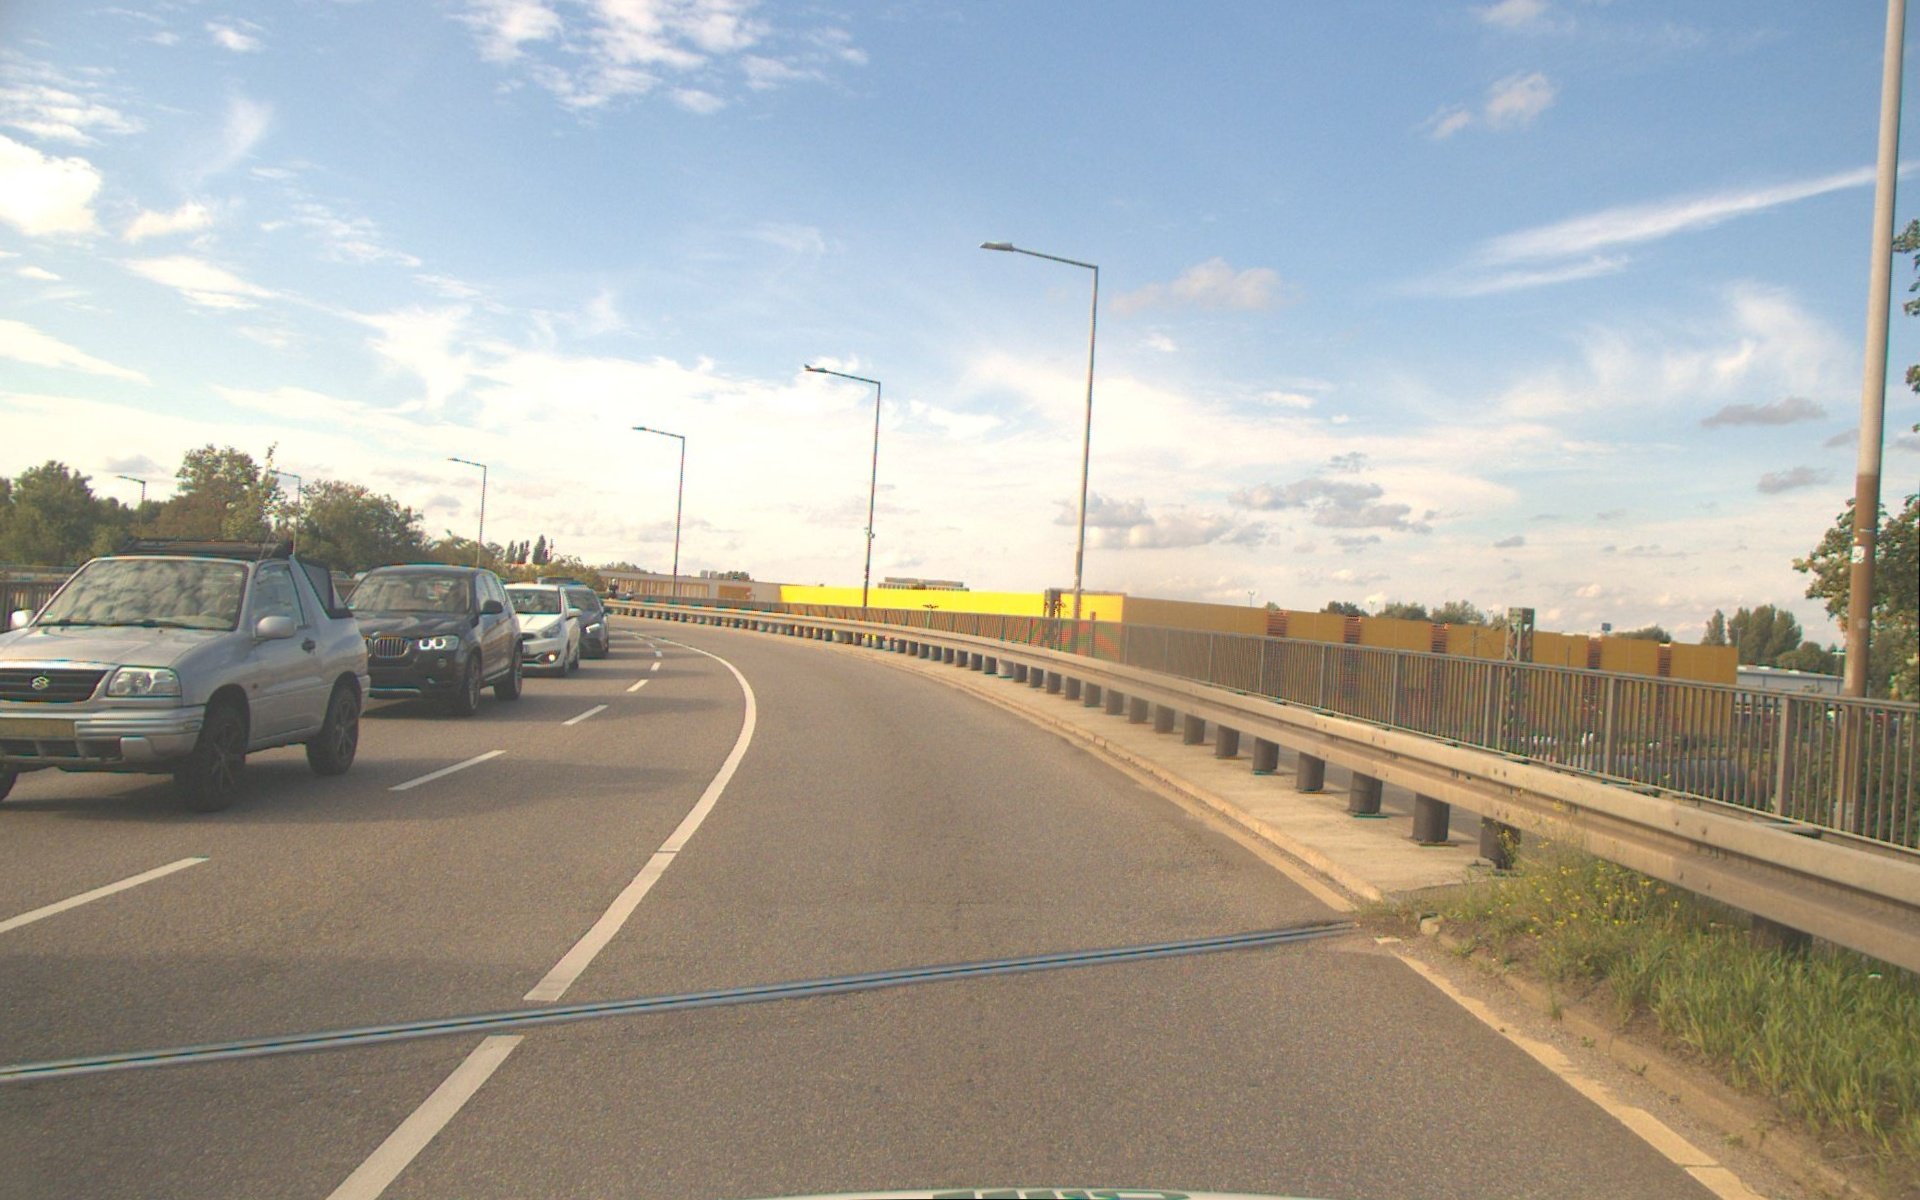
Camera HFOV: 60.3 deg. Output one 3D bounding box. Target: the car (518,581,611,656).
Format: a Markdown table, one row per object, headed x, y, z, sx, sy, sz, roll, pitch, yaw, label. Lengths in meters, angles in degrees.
| x | y | z | sx | sy | sz | roll | pitch | yaw | label |
| --- | --- | --- | --- | --- | --- | --- | --- | --- | --- |
| -8.401 | 0.352 | 35.243 | 1.782 | 1.482 | 4.310 | 1 | 0 | -13 | car |

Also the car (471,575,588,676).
| x | y | z | sx | sy | sz | roll | pitch | yaw | label |
| --- | --- | --- | --- | --- | --- | --- | --- | --- | --- |
| -7.206 | 0.385 | 27.970 | 1.653 | 1.572 | 3.912 | 1 | 0 | -11 | car |

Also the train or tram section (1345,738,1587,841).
| x | y | z | sx | sy | sz | roll | pitch | yaw | label |
| --- | --- | --- | --- | --- | --- | --- | --- | --- | --- |
| 28.822 | 10.533 | 93.462 | 16.532 | 4.795 | 3.063 | 1 | 0 | -32 | train or tram section |

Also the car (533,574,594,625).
| x | y | z | sx | sy | sz | roll | pitch | yaw | label |
| --- | --- | --- | --- | --- | --- | --- | --- | --- | --- |
| -14.052 | -0.038 | 58.416 | 1.800 | 1.701 | 4.844 | 1 | 0 | -17 | car |

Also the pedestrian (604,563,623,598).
| x | y | z | sx | sy | sz | roll | pitch | yaw | label |
| --- | --- | --- | --- | --- | --- | --- | --- | --- | --- |
| -16.882 | -0.934 | 80.599 | 0.669 | 1.690 | 0.857 | 2 | 0 | -30 | pedestrian |

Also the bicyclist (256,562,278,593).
| x | y | z | sx | sy | sz | roll | pitch | yaw | label |
| --- | --- | --- | --- | --- | --- | --- | --- | --- | --- |
| -39.164 | -1.281 | 93.453 | 0.763 | 1.689 | 1.102 | 2 | 0 | -45 | bicyclist |

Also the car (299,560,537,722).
| x | y | z | sx | sy | sz | roll | pitch | yaw | label |
| --- | --- | --- | --- | --- | --- | --- | --- | --- | --- |
| -6.361 | 0.415 | 19.947 | 1.834 | 1.695 | 4.622 | 1 | 0 | -7 | car |

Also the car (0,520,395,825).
| x | y | z | sx | sy | sz | roll | pitch | yaw | label |
| --- | --- | --- | --- | --- | --- | --- | --- | --- | --- |
| -5.487 | 0.405 | 11.641 | 1.738 | 1.776 | 3.836 | 1 | 0 | -1 | car |

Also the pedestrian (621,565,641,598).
| x | y | z | sx | sy | sz | roll | pitch | yaw | label |
| --- | --- | --- | --- | --- | --- | --- | --- | --- | --- |
| -16.140 | -0.915 | 81.095 | 0.669 | 1.570 | 0.951 | 2 | 0 | -30 | pedestrian |
